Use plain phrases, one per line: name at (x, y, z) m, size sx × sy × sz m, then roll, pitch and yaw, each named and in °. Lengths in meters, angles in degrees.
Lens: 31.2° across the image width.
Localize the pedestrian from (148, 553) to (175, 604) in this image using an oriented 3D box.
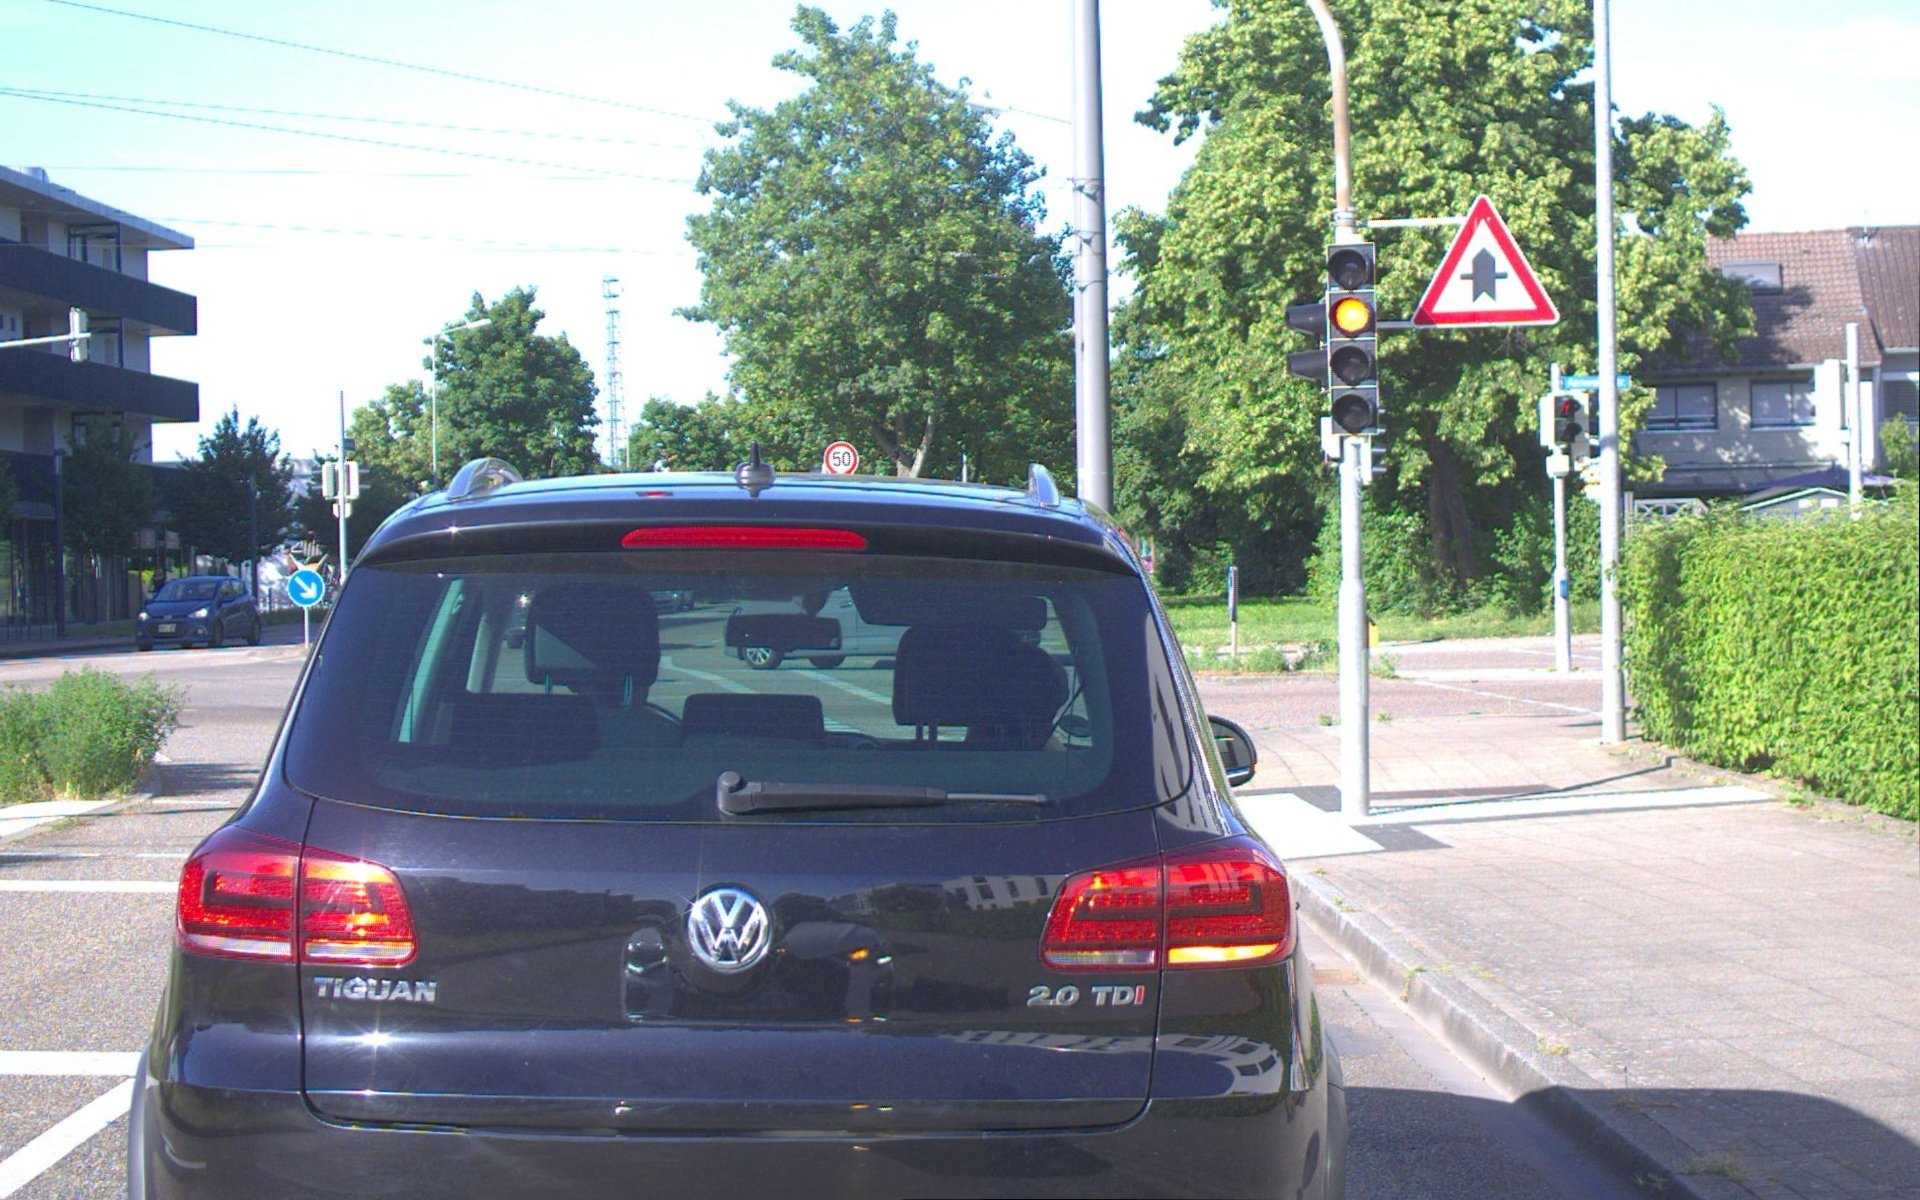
pedestrian at (-23.326, -0.630, 100.467) m, size 0.642 × 1.504 × 0.596 m, roll 1°, pitch 0°, yaw 0°

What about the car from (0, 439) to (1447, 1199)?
car at (-0.335, 0.599, 6.467) m, size 1.869 × 1.632 × 4.000 m, roll 1°, pitch 1°, yaw -1°

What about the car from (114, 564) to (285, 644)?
car at (-15.764, 0.061, 71.502) m, size 1.994 × 1.569 × 4.337 m, roll 1°, pitch 1°, yaw 9°

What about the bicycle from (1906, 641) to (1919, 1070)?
bicycle at (3.318, 0.697, 7.938) m, size 0.928 × 1.169 × 3.126 m, roll -2°, pitch 1°, yaw -10°

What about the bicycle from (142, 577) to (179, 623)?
bicycle at (-23.348, -0.006, 100.432) m, size 0.630 × 1.327 × 1.913 m, roll 1°, pitch 1°, yaw 0°

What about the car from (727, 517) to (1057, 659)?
car at (-0.931, -0.178, 46.649) m, size 3.993 × 1.830 × 1.997 m, roll 1°, pitch 1°, yaw 28°

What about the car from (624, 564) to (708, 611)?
car at (-10.145, -0.435, 118.923) m, size 1.994 × 1.569 × 4.338 m, roll 1°, pitch 1°, yaw 7°

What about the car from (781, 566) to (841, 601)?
car at (-6.740, -0.759, 155.780) m, size 1.994 × 1.569 × 4.338 m, roll 1°, pitch 1°, yaw 7°

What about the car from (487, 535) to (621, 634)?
car at (-7.210, -0.290, 61.377) m, size 1.993 × 1.678 × 4.000 m, roll 1°, pitch 1°, yaw -1°
